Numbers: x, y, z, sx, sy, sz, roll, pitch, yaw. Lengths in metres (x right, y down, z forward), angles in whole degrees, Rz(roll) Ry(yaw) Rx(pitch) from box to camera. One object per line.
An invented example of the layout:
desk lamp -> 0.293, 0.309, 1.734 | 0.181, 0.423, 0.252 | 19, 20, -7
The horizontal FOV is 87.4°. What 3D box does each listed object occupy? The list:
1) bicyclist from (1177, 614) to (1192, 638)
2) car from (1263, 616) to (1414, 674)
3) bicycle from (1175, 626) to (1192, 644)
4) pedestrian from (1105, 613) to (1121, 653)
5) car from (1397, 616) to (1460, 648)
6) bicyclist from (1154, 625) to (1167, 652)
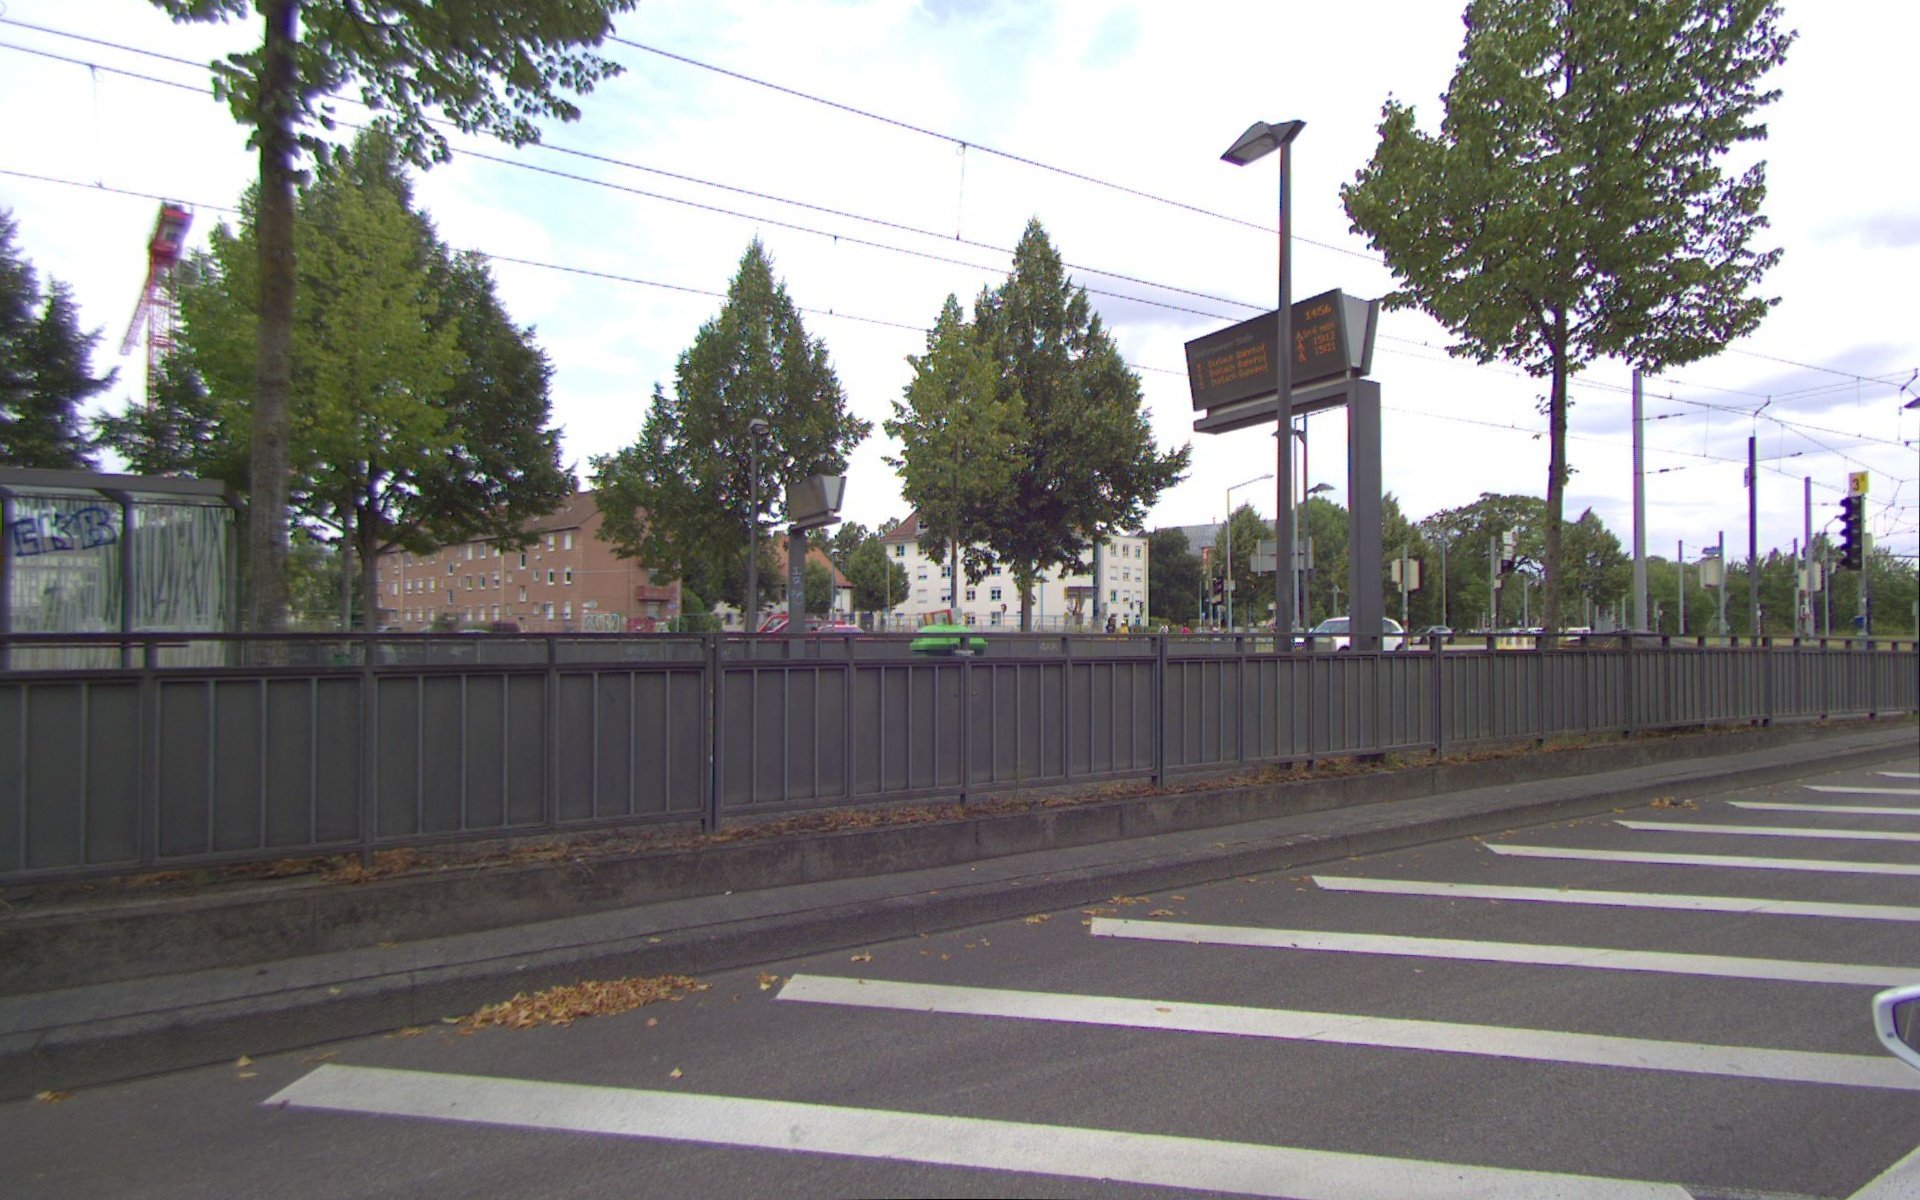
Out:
bicyclist -> 15.033, 1.724, 67.280 | 0.874, 1.583, 0.750 | -1, -1, 24
car -> 11.350, 1.299, 30.080 | 4.333, 1.639, 1.984 | 1, -1, -30
bicycle -> 14.956, 2.310, 67.159 | 0.793, 1.144, 2.708 | 0, -1, 19
pedestrian -> 7.301, 1.559, 47.911 | 0.637, 1.874, 0.491 | 0, -1, 22
car -> 36.907, 2.498, 79.207 | 3.925, 1.663, 1.998 | -3, 20, -6
bicyclist -> 14.220, 2.722, 71.260 | 0.815, 1.859, 0.783 | 0, -1, 23
